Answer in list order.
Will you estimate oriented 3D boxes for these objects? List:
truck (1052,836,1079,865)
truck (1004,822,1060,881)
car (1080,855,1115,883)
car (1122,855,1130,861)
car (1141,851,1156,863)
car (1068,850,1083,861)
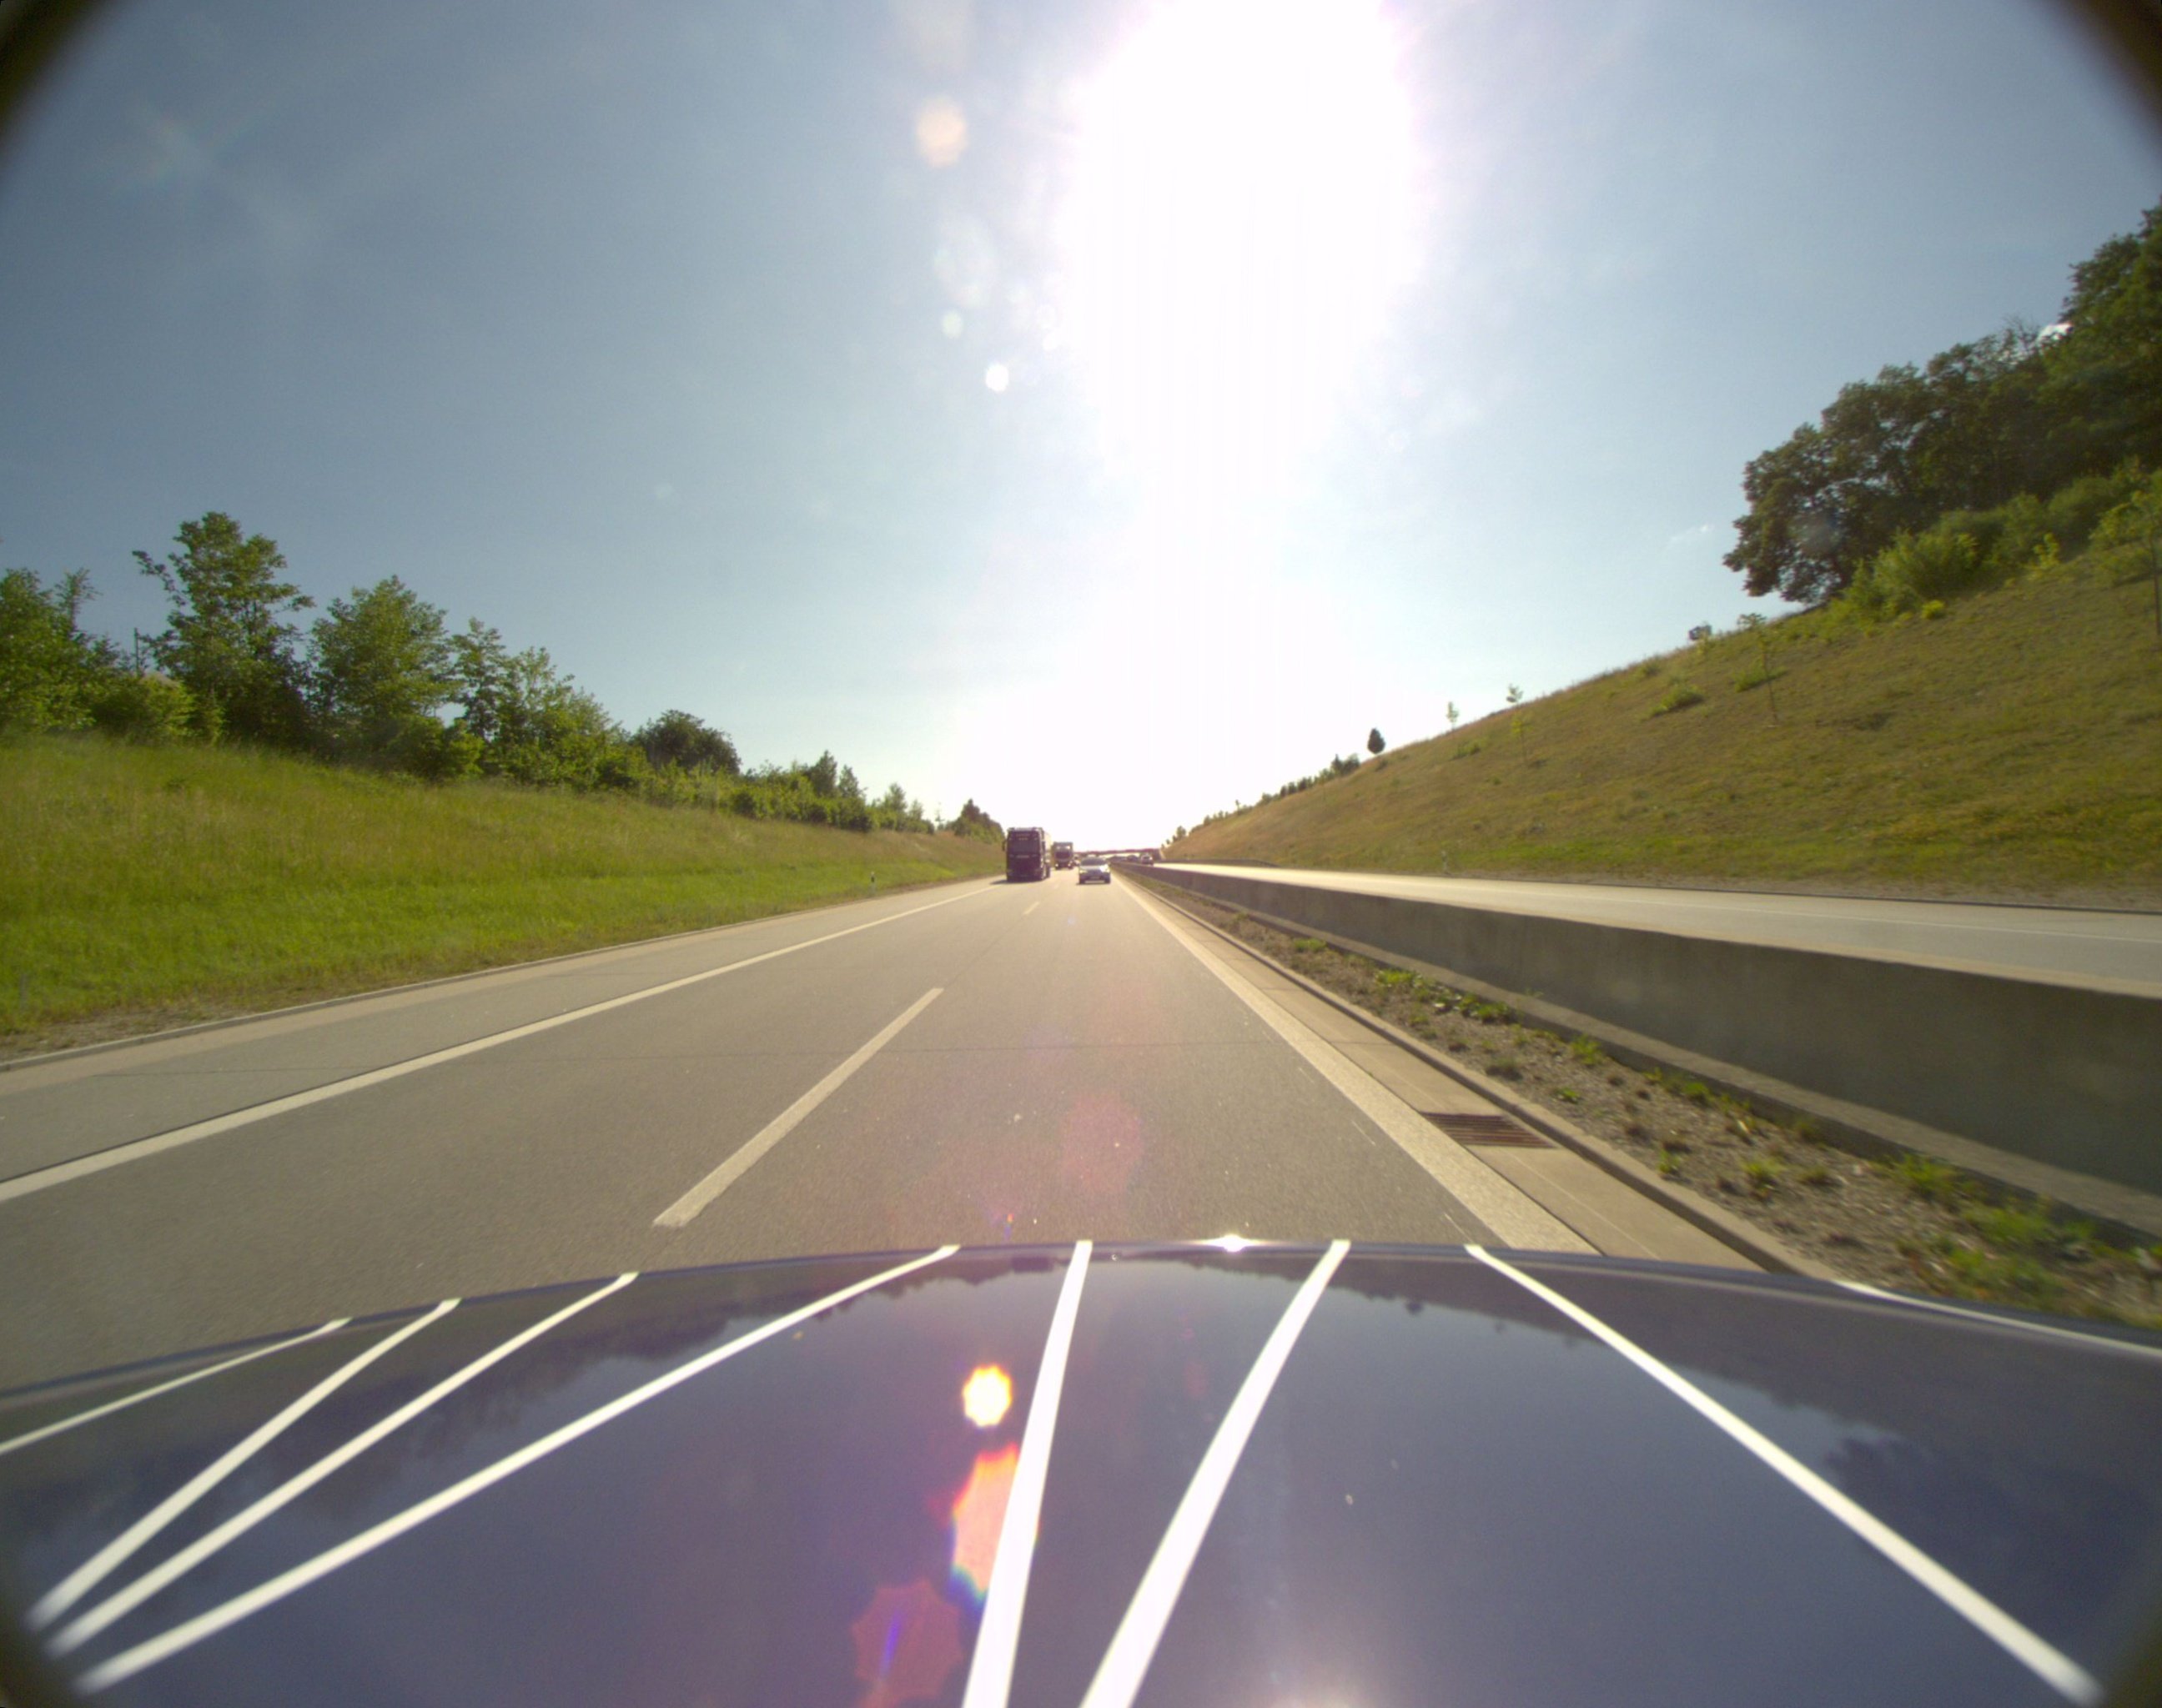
[{"bbox_3d":[-2.218,-0.494,112.286,3.024,3.795,13.405,-2,0,2],"label":"truck"},{"bbox_3d":[-3.511,-0.165,58.381,2.623,3.795,13.405,-4,0,2],"label":"truck"},{"bbox_3d":[1.027,0.855,44.817,1.795,1.501,3.636,-4,0,4],"label":"car"},{"bbox_3d":[11.405,1.087,193.149,1.858,1.453,4.333,-2,0,1],"label":"car"},{"bbox_3d":[9.876,0.432,110.838,1.780,1.592,4.039,-2,0,1],"label":"car"},{"bbox_3d":[-1.140,0.263,152.429,2.816,2.143,5.947,-2,0,0],"label":"car"}]
